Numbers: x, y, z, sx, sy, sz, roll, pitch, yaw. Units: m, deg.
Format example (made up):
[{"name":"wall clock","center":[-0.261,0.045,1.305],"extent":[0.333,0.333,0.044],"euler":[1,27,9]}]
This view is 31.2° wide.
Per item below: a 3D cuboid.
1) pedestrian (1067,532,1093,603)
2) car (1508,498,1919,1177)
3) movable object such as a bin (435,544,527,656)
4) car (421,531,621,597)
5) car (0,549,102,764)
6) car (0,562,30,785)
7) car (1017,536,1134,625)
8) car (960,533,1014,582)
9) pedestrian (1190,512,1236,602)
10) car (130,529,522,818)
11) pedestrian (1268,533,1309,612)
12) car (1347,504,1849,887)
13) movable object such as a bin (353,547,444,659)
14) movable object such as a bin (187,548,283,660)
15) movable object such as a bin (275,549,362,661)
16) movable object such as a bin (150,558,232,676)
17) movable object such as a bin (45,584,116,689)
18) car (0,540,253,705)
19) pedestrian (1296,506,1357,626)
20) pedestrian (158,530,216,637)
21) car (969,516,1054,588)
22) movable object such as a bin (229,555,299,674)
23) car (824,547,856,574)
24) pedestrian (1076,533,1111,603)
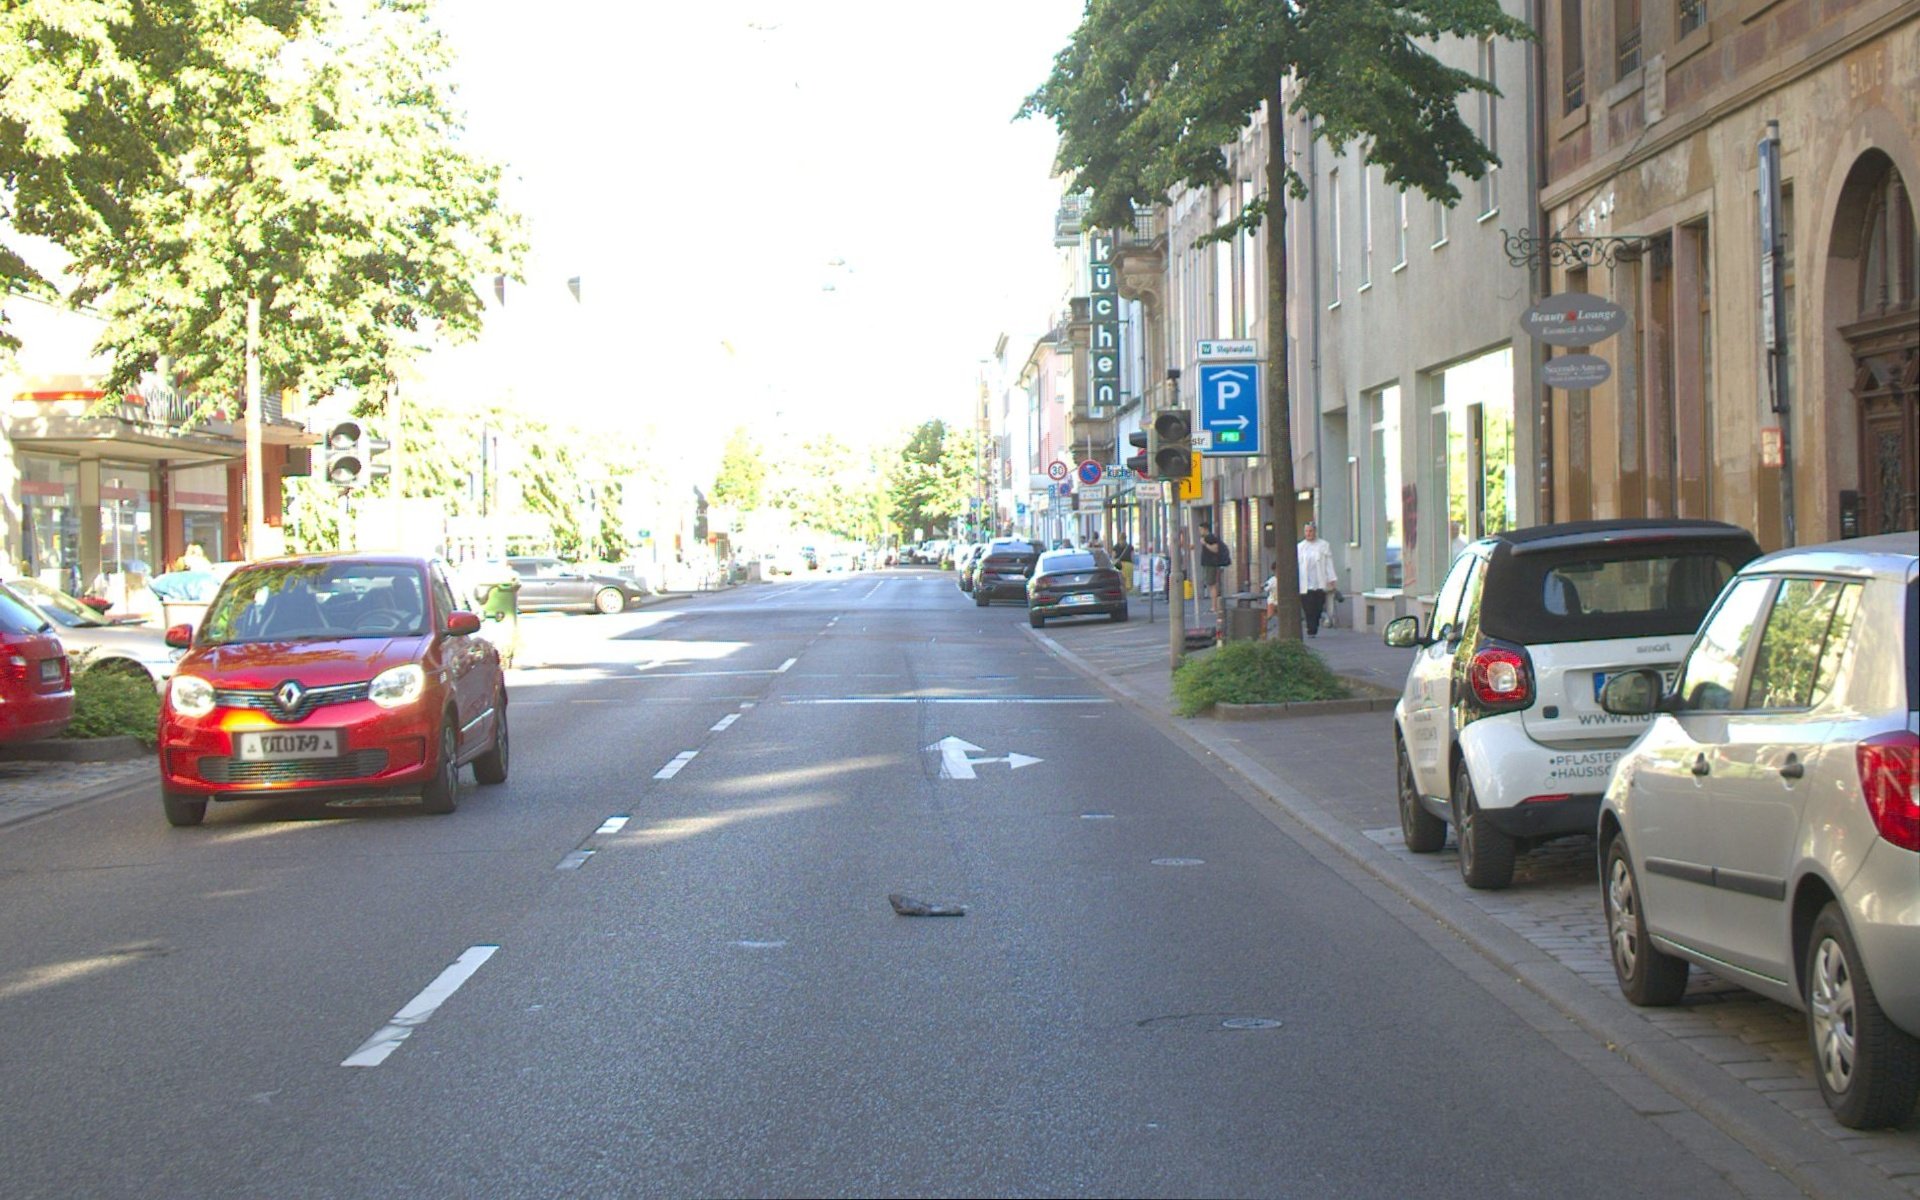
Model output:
[{"name":"pedestrian","center":[2.968,-0.803,84.793],"extent":[0.620,1.760,0.518],"euler":[-1,1,2]},{"name":"car","center":[2.856,0.482,10.081],"extent":[1.614,1.523,4.235],"euler":[-4,1,-1]},{"name":"movable object such as a bin","center":[-6.483,-0.013,46.598],"extent":[1.042,1.466,1.453],"euler":[-1,1,-2]},{"name":"car","center":[-10.224,-0.849,80.172],"extent":[4.259,1.482,1.940],"euler":[-1,1,-41]},{"name":"car","center":[-8.157,0.379,24.312],"extent":[3.748,1.463,1.740],"euler":[0,1,-1]},{"name":"car","center":[-8.065,0.481,21.779],"extent":[3.841,1.424,1.789],"euler":[0,1,1]},{"name":"car","center":[2.166,-0.406,65.698],"extent":[1.917,1.473,4.965],"euler":[-5,1,0]},{"name":"car","center":[0.938,-1.484,121.485],"extent":[1.716,1.630,4.084],"euler":[0,0,-2]},{"name":"pedestrian","center":[4.725,-0.806,64.265],"extent":[0.691,1.630,0.889],"euler":[-3,1,-1]},{"name":"car","center":[-3.753,0.373,20.935],"extent":[1.658,1.530,3.761],"euler":[-2,1,0]},{"name":"pedestrian","center":[4.414,-0.370,46.238],"extent":[0.393,1.030,0.740],"euler":[-4,1,-2]},{"name":"car","center":[2.847,0.378,15.936],"extent":[1.613,1.523,3.061],"euler":[-3,1,-1]},{"name":"movable object such as a bin","center":[-7.583,0.028,46.484],"extent":[1.042,1.466,1.143],"euler":[-1,1,-2]},{"name":"movable object such as a bin","center":[-9.790,0.047,46.449],"extent":[1.042,1.466,1.143],"euler":[-1,1,-2]},{"name":"movable object such as a bin","center":[-8.657,0.059,46.403],"extent":[0.964,1.466,1.143],"euler":[-1,1,-2]},{"name":"movable object such as a bin","center":[-8.874,0.191,39.681],"extent":[0.754,1.336,0.805],"euler":[-1,1,-2]},{"name":"movable object such as a bin","center":[-9.210,0.372,36.005],"extent":[0.531,1.065,0.805],"euler":[-1,1,-2]},{"name":"car","center":[-8.800,0.191,31.610],"extent":[4.203,1.463,1.739],"euler":[0,1,2]},{"name":"pedestrian","center":[4.929,-0.461,46.320],"extent":[0.580,1.554,1.021],"euler":[-4,1,-2]},{"name":"pedestrian","center":[-12.126,-0.263,53.965],"extent":[0.665,1.653,1.037],"euler":[-1,1,-1]},{"name":"car","center":[1.250,-1.204,85.276],"extent":[1.973,1.719,4.824],"euler":[0,1,0]},{"name":"movable object such as a bin","center":[-8.036,0.160,39.705],"extent":[0.634,1.336,0.805],"euler":[-1,1,-2]},{"name":"car","center":[-8.261,-2.733,236.611],"extent":[1.993,1.766,4.000],"euler":[0,2,1]},{"name":"pedestrian","center":[3.290,-0.787,84.759],"extent":[0.801,1.669,0.589],"euler":[-3,1,2]}]
